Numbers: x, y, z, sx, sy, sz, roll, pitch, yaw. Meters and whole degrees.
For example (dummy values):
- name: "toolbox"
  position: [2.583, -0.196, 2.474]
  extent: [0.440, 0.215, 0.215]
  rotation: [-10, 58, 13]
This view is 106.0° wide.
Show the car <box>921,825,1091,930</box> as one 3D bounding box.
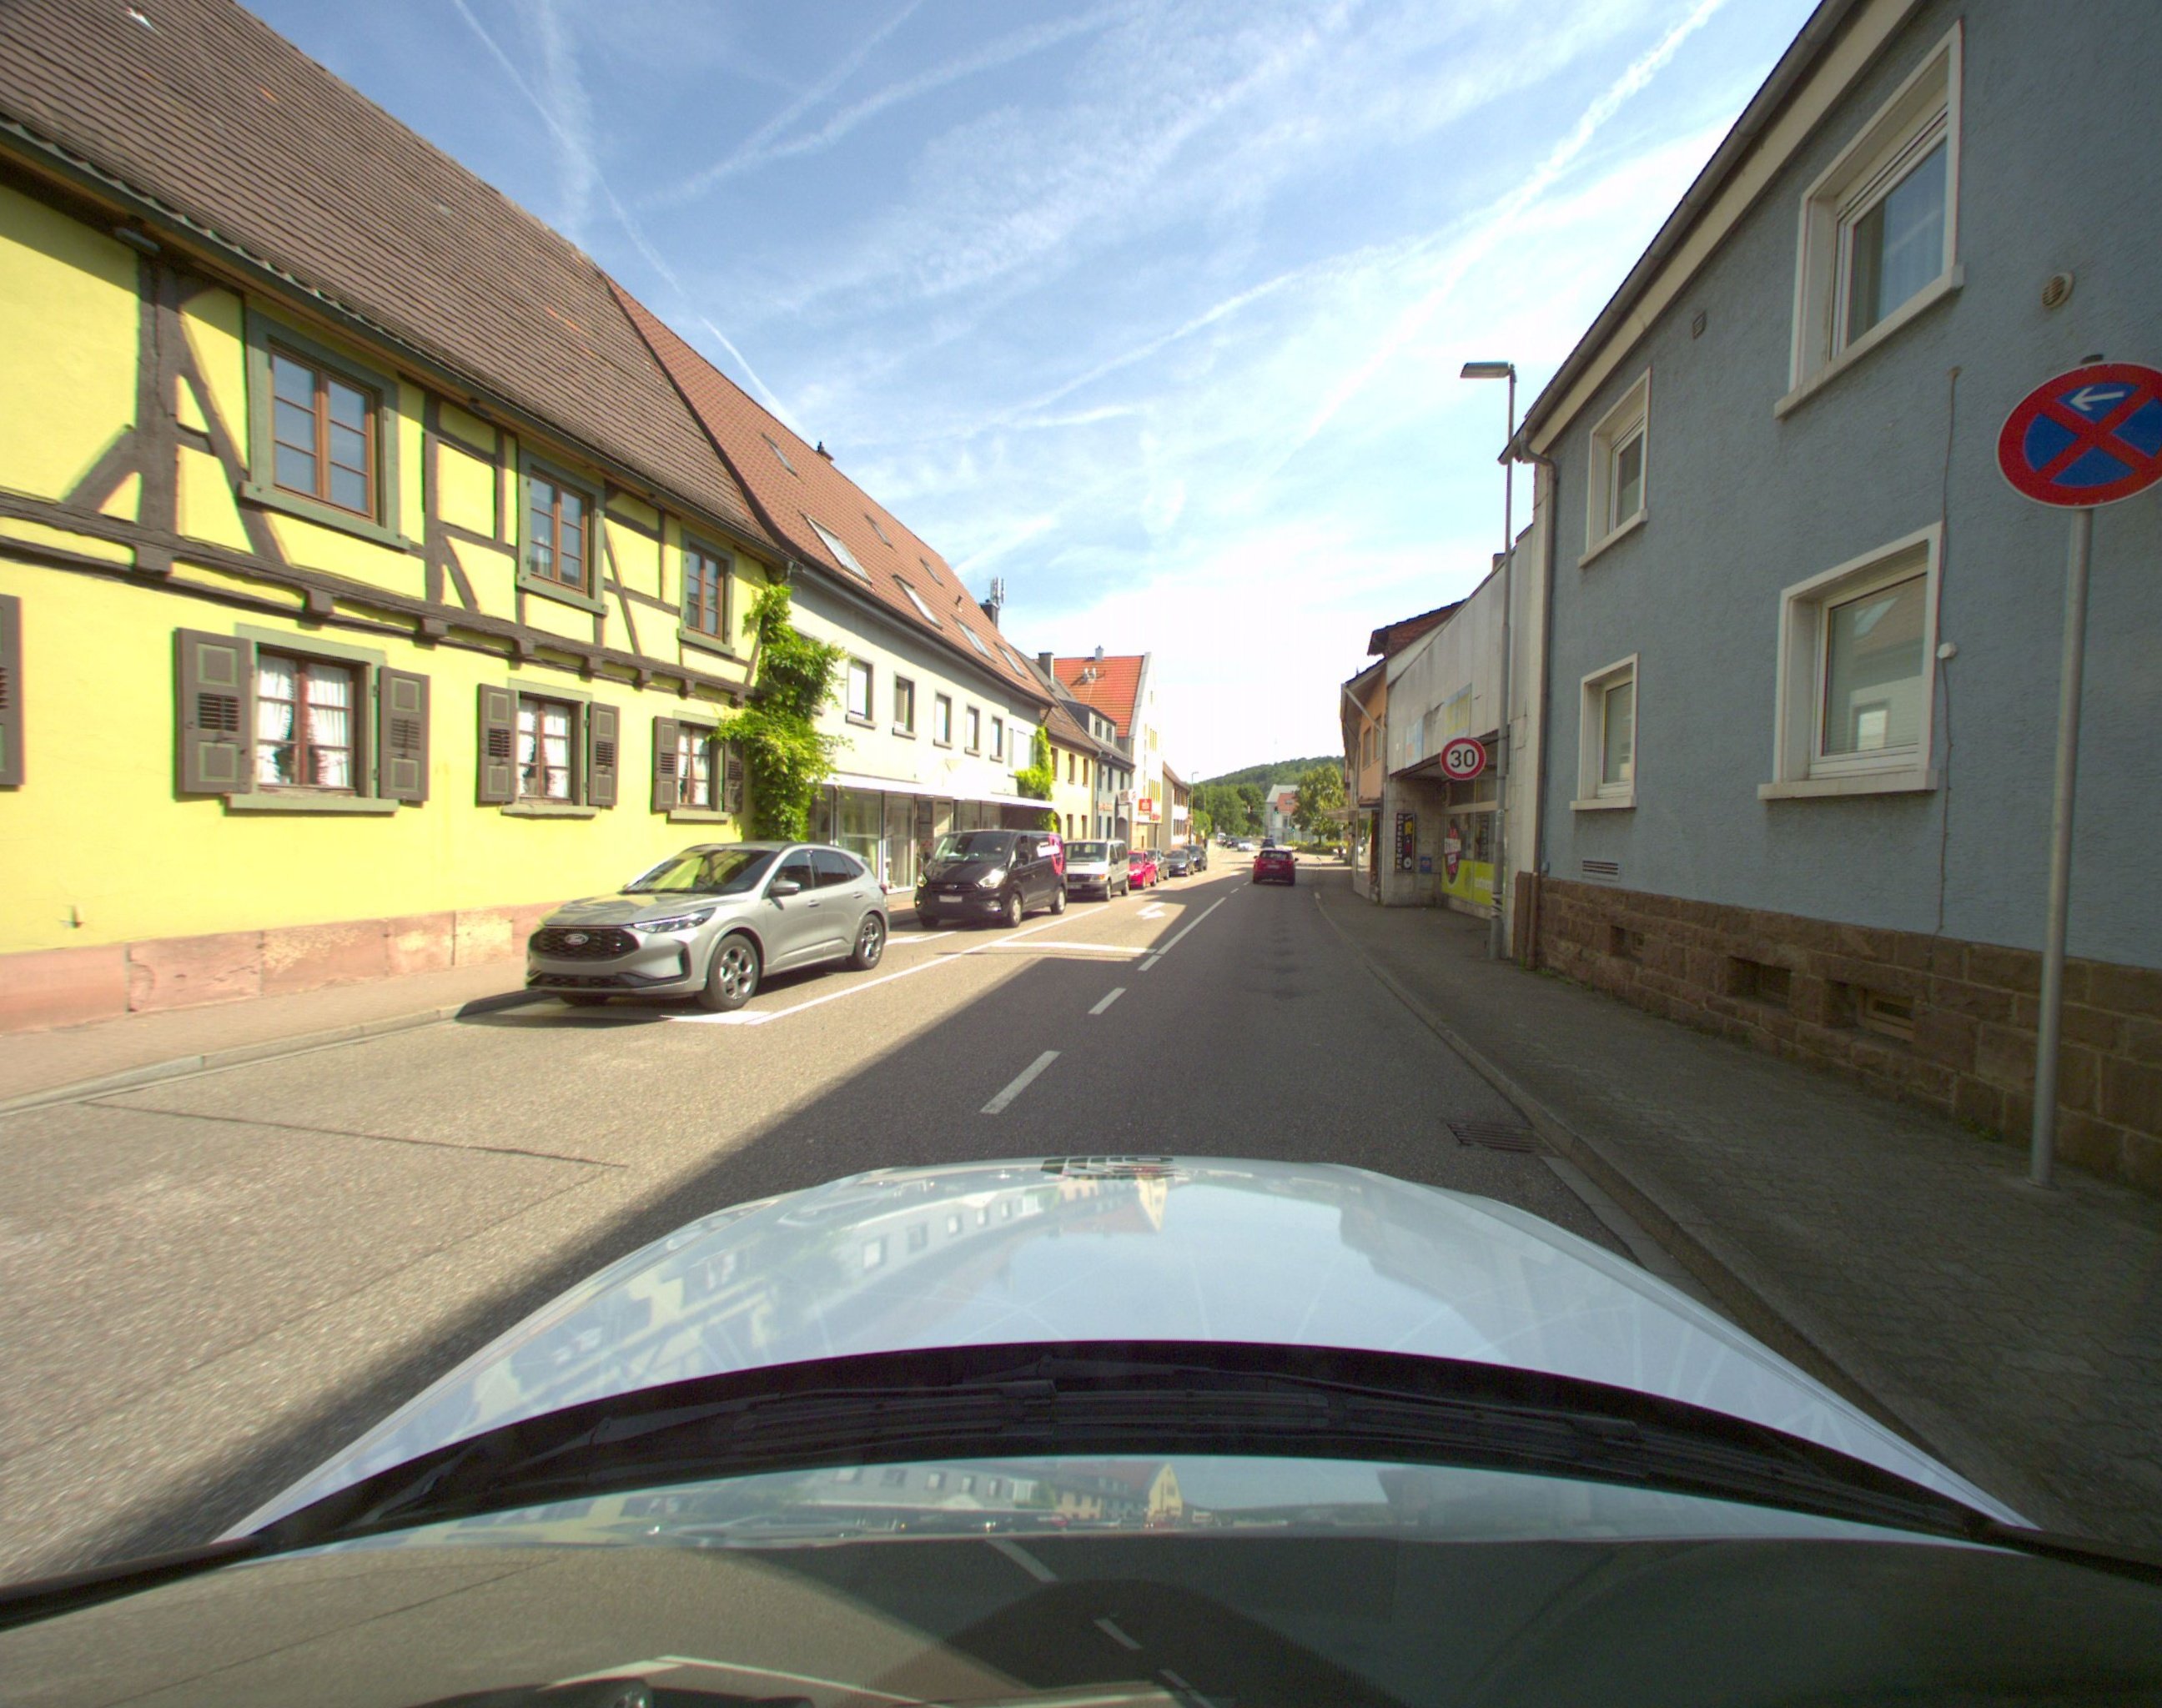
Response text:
- name: "car"
  position: [-1.391, 0.410, 17.696]
  extent: [2.144, 1.923, 5.184]
  rotation: [0, 0, 13]

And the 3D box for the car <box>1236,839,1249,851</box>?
- name: "car"
  position: [25.657, -1.387, 129.500]
  extent: [1.761, 1.784, 3.854]
  rotation: [1, -1, 15]

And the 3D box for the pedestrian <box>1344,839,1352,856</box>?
- name: "pedestrian"
  position: [27.349, -0.659, 83.398]
  extent: [0.638, 1.707, 0.702]
  rotation: [1, -1, 11]

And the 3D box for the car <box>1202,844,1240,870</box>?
- name: "car"
  position: [9.027, 0.175, 52.328]
  extent: [1.853, 1.589, 4.538]
  rotation: [0, 0, 16]

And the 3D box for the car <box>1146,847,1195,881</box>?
- name: "car"
  position: [4.322, 0.445, 38.773]
  extent: [1.616, 1.520, 4.037]
  rotation: [0, 0, 16]

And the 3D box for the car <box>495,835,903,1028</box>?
- name: "car"
  position: [-3.783, 0.628, 9.122]
  extent: [1.743, 1.610, 4.444]
  rotation: [0, 0, 13]

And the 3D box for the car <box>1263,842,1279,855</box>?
- name: "car"
  position: [28.060, -0.809, 120.029]
  extent: [1.917, 1.794, 3.974]
  rotation: [1, -1, 18]

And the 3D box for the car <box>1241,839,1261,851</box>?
- name: "car"
  position: [21.944, -1.182, 104.787]
  extent: [1.972, 1.444, 5.124]
  rotation: [1, 1, 17]

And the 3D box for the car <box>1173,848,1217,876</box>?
- name: "car"
  position: [6.276, 0.375, 44.473]
  extent: [1.775, 1.450, 4.443]
  rotation: [0, 0, 16]

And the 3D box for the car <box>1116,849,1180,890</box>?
- name: "car"
  position: [2.681, 0.543, 31.624]
  extent: [1.746, 1.492, 4.093]
  rotation: [0, 0, 15]

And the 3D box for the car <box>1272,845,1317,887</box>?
- name: "car"
  position: [9.928, 0.495, 37.619]
  extent: [1.845, 1.714, 4.441]
  rotation: [2, 1, 16]

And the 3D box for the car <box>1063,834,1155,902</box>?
- name: "car"
  position: [0.977, 0.378, 25.338]
  extent: [1.869, 1.890, 4.570]
  rotation: [0, 0, 15]
